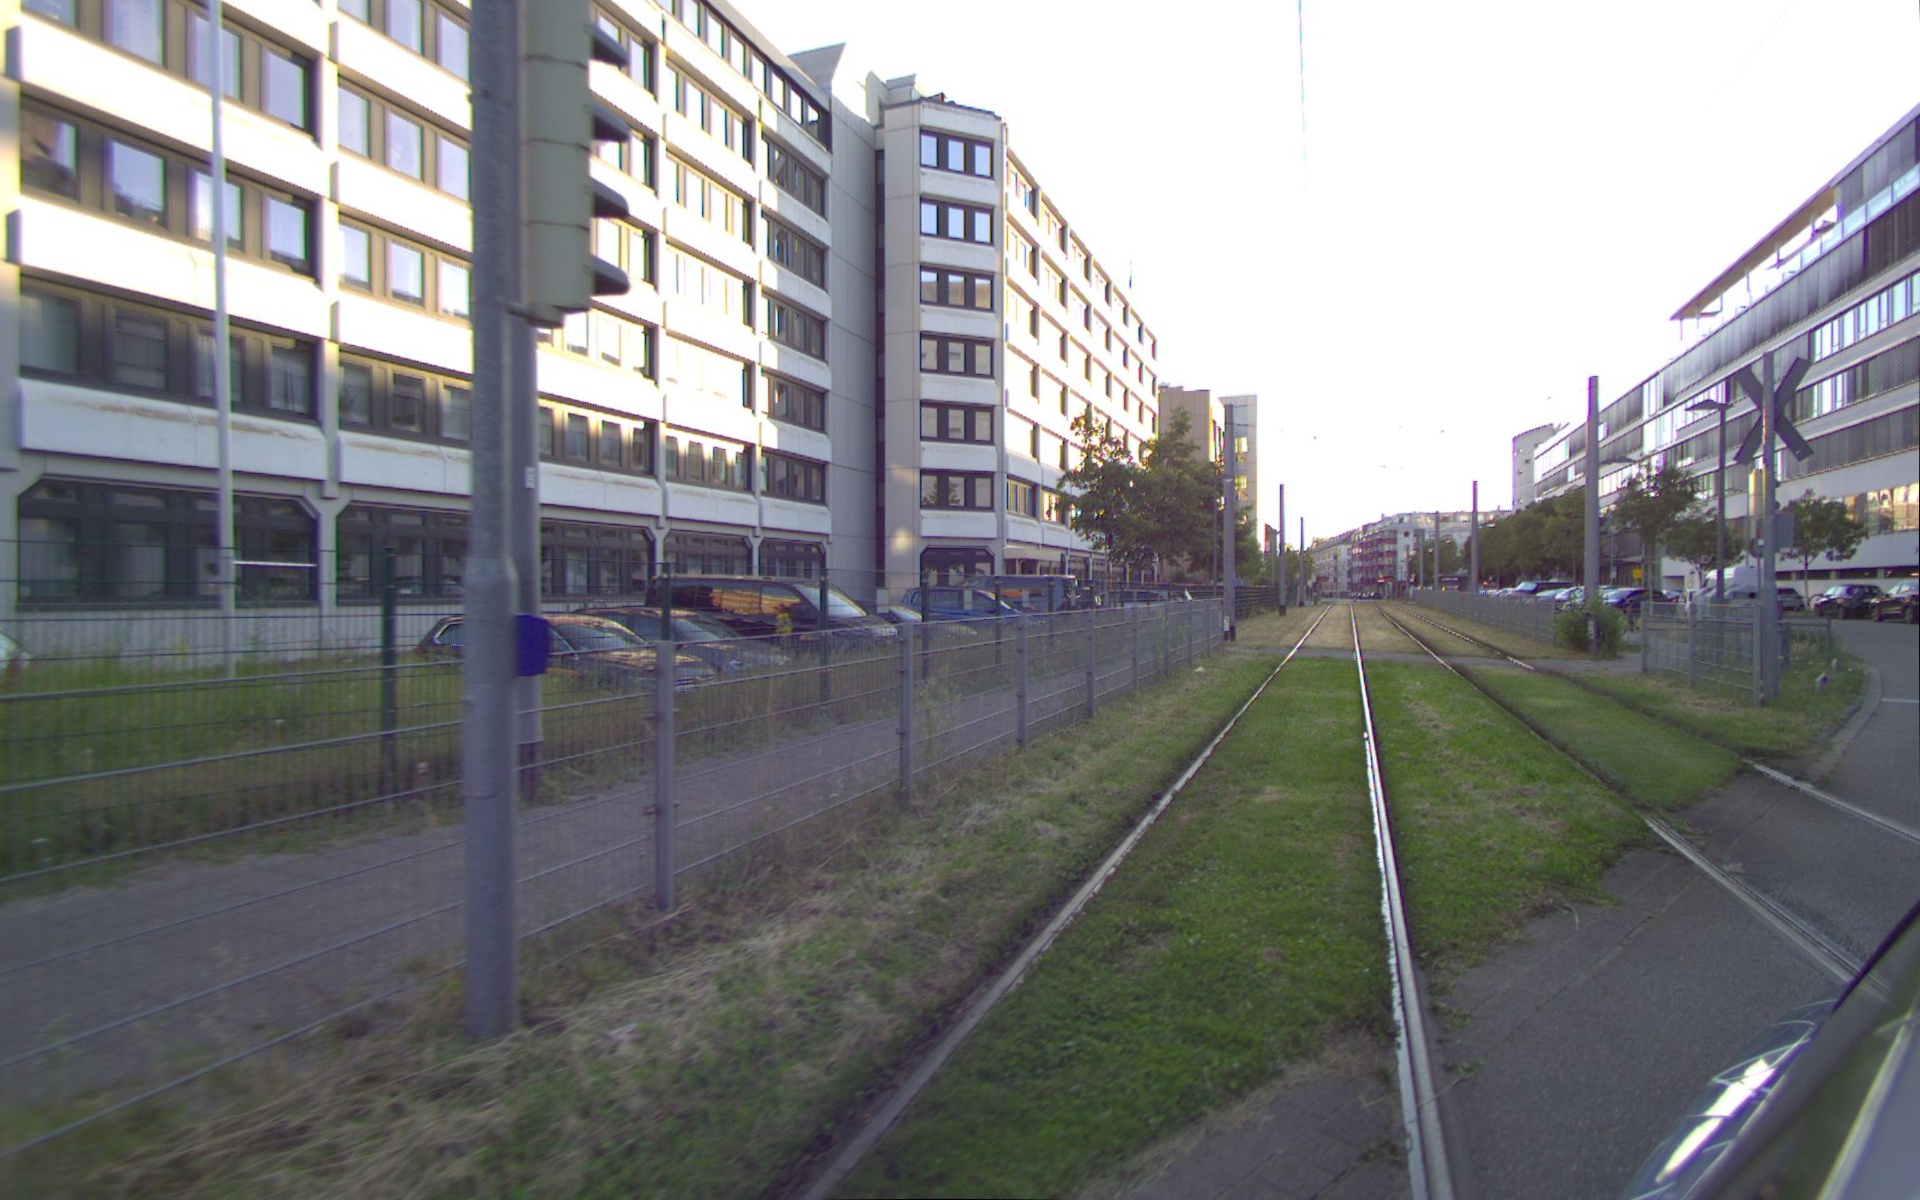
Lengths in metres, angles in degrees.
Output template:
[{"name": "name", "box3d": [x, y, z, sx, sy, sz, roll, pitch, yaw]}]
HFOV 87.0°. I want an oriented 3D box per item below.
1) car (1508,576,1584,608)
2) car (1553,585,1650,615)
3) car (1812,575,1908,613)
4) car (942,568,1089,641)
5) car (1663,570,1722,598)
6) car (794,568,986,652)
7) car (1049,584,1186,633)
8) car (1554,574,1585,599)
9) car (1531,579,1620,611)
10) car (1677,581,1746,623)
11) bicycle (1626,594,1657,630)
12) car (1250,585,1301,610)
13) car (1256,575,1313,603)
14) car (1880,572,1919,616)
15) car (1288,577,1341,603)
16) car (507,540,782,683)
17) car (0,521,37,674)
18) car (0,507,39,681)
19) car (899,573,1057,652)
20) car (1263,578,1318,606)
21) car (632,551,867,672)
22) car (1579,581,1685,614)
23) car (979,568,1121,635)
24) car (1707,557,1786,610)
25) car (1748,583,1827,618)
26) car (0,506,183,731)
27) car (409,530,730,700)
[{"name": "car", "box3d": [37.084, -0.490, 64.110, 4.086, 1.984, 1.721, 0, 0, -13]}, {"name": "car", "box3d": [30.425, -0.002, 48.042, 3.916, 1.393, 1.721, 0, 0, -16]}, {"name": "car", "box3d": [40.372, -0.268, 45.518, 1.775, 1.571, 3.974, -2, 0, 19]}, {"name": "car", "box3d": [1.664, 0.117, 30.160, 3.956, 2.039, 1.984, 0, 0, 24]}, {"name": "car", "box3d": [43.571, -0.922, 60.320, 1.841, 1.516, 4.635, 4, 2, 24]}, {"name": "car", "box3d": [-1.609, 0.198, 23.237, 3.959, 1.772, 1.982, 0, 0, 26]}, {"name": "car", "box3d": [5.411, 0.262, 34.781, 4.357, 1.613, 1.803, 0, 0, 24]}, {"name": "car", "box3d": [64.305, -1.417, 106.829, 1.975, 2.618, 3.974, 0, 0, 20]}, {"name": "car", "box3d": [32.326, -0.266, 53.197, 3.916, 1.664, 1.721, 0, 0, -13]}, {"name": "car", "box3d": [29.045, 0.067, 39.201, 1.617, 1.531, 3.384, 1, 0, 28]}, {"name": "bicycle", "box3d": [22.168, 0.366, 32.888, 0.541, 1.149, 1.895, 0, 0, 43]}, {"name": "car", "box3d": [26.055, -0.223, 83.442, 3.950, 2.039, 1.987, 0, 0, 21]}, {"name": "car", "box3d": [23.881, -0.804, 74.385, 3.950, 2.039, 1.987, 0, 0, 21]}, {"name": "car", "box3d": [38.153, -0.227, 39.591, 1.775, 1.707, 3.975, 0, 0, 19]}, {"name": "car", "box3d": [28.462, -0.783, 81.338, 3.950, 2.039, 1.987, 0, 0, 21]}, {"name": "car", "box3d": [-5.056, 0.156, 16.217, 3.959, 2.039, 1.982, 0, 0, 26]}, {"name": "car", "box3d": [-14.575, -0.038, 13.043, 3.933, 2.039, 1.995, 0, 0, -44]}, {"name": "car", "box3d": [-13.129, -0.080, 11.486, 3.933, 2.039, 1.995, 0, 0, -44]}, {"name": "car", "box3d": [0.508, 0.316, 28.095, 3.956, 2.039, 1.984, 0, 0, 24]}, {"name": "car", "box3d": [25.151, -0.598, 76.977, 3.950, 2.039, 1.987, 0, 0, 21]}, {"name": "car", "box3d": [-3.944, 0.182, 18.957, 3.959, 2.039, 1.982, 0, 0, 26]}, {"name": "car", "box3d": [29.404, -0.101, 44.285, 3.916, 1.393, 1.721, 0, 0, -16]}, {"name": "car", "box3d": [2.939, 0.034, 33.008, 4.227, 2.039, 1.984, 0, 0, 24]}, {"name": "car", "box3d": [45.630, -0.926, 58.894, 1.983, 2.912, 6.207, 2, 1, 23]}, {"name": "car", "box3d": [43.633, 0.000, 53.446, 1.773, 1.723, 3.978, 2, 1, 17]}, {"name": "car", "box3d": [-9.838, 0.162, 9.437, 3.933, 2.039, 1.995, 0, 0, -44]}, {"name": "car", "box3d": [-5.369, 0.171, 13.926, 3.959, 2.039, 1.982, 0, 0, 26]}]
